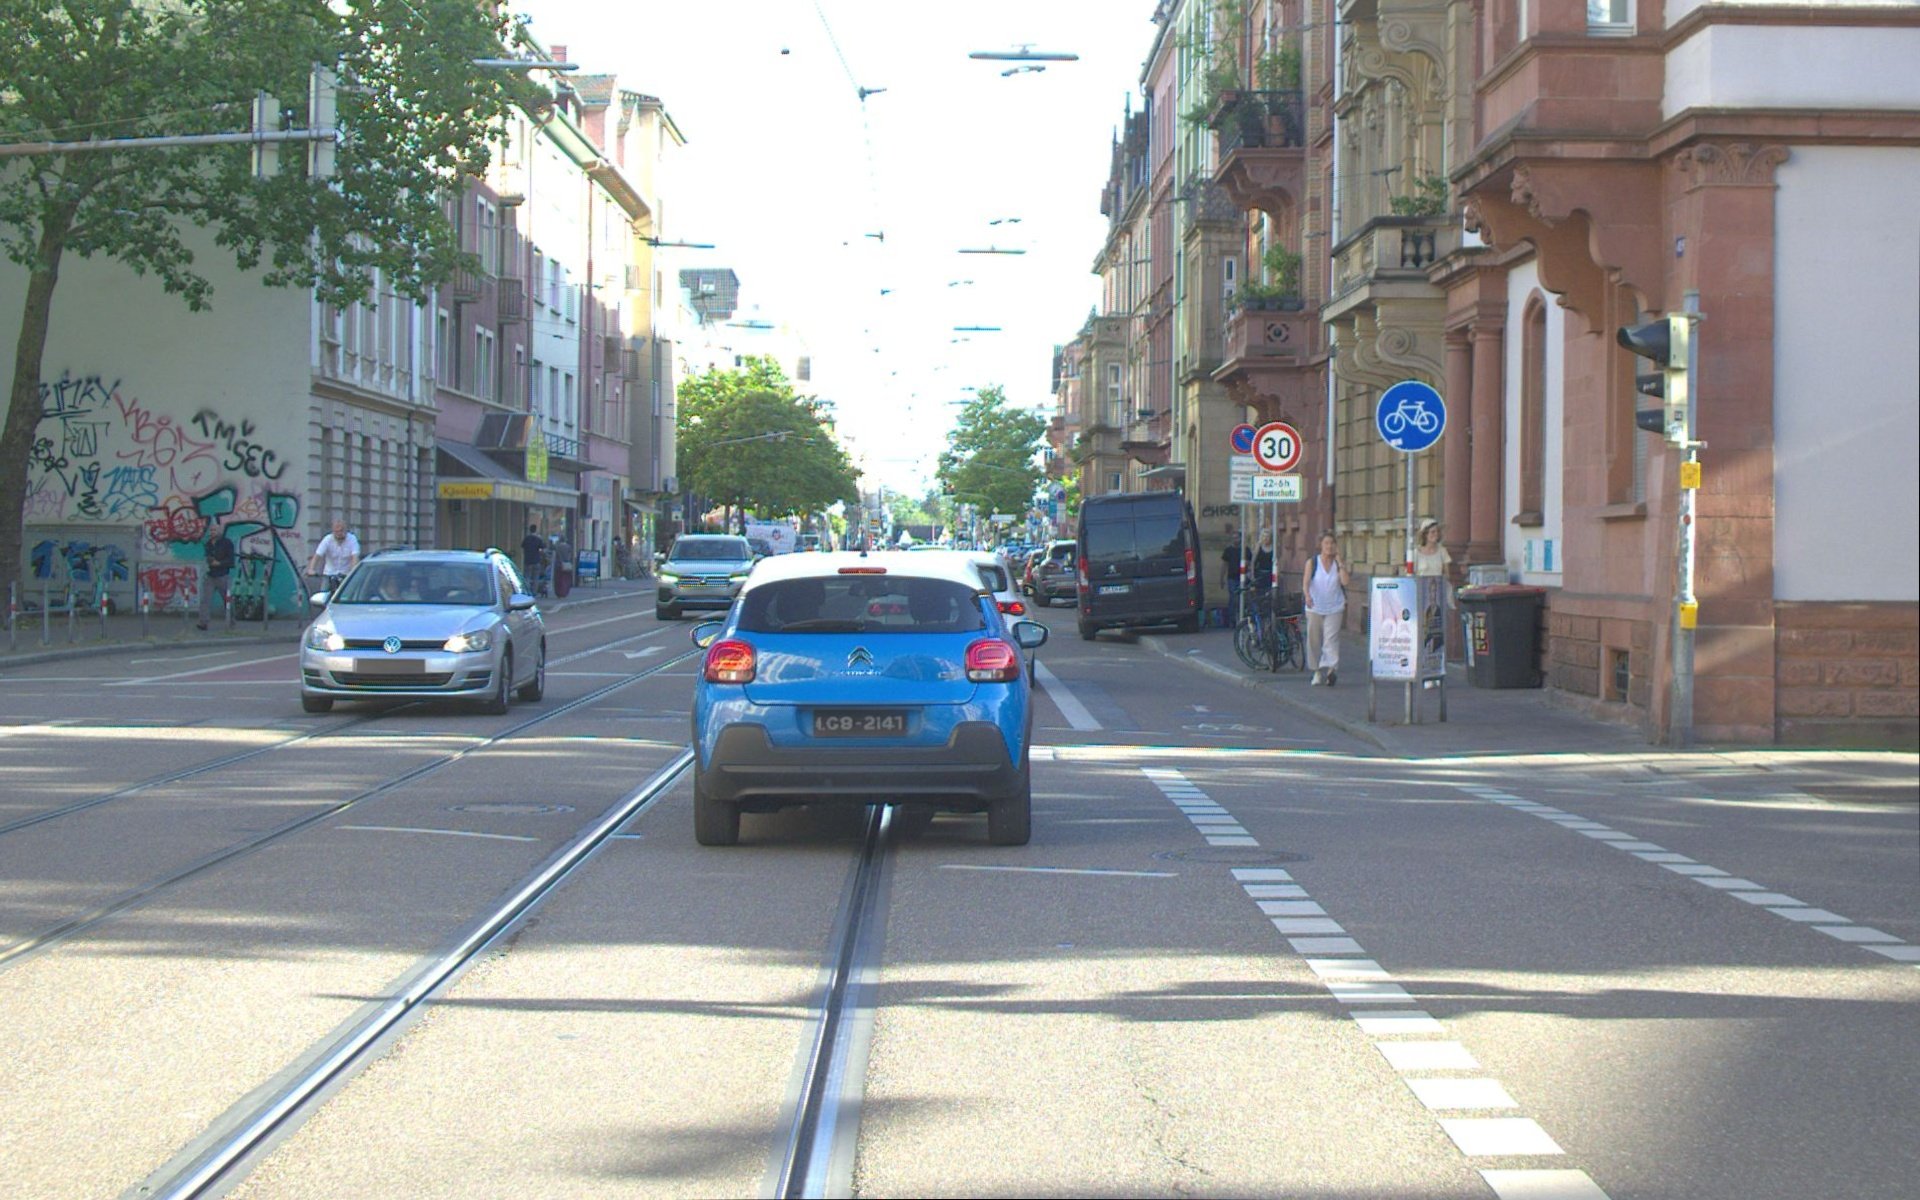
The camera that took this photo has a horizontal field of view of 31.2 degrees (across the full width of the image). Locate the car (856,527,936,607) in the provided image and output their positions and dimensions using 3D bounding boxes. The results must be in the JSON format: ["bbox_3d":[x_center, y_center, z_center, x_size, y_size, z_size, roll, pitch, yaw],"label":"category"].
[{"bbox_3d":[-1.665,-0.870,88.933,1.993,2.007,4.000,1,1,-1],"label":"car"}]

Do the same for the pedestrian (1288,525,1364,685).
[{"bbox_3d":[3.919,0.049,36.831,0.626,1.695,0.682,1,1,-9],"label":"pedestrian"}]

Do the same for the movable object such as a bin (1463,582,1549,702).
[{"bbox_3d":[5.670,0.430,35.709,0.666,1.149,0.594,-7,2,-1],"label":"movable object such as a bin"}]

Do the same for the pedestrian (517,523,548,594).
[{"bbox_3d":[-10.674,-1.033,85.858,0.710,1.758,0.570,1,1,-1],"label":"pedestrian"}]

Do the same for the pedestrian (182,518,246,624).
[{"bbox_3d":[-12.520,-0.492,57.723,0.682,1.759,1.025,1,1,10],"label":"pedestrian"}]

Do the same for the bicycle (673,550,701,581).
[{"bbox_3d":[-12.168,-1.548,153.272,1.120,1.315,3.645,1,1,-6],"label":"bicycle"}]

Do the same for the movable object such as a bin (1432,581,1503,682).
[{"bbox_3d":[5.435,0.335,36.850,0.666,1.073,0.571,0,1,-1],"label":"movable object such as a bin"}]

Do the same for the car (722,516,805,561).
[{"bbox_3d":[-11.564,-3.606,202.326,4.307,2.572,2.210,-1,1,-26],"label":"car"}]

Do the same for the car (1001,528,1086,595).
[{"bbox_3d":[2.140,-1.001,89.089,2.005,1.667,4.806,1,1,-1],"label":"car"}]

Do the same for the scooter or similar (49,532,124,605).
[{"bbox_3d":[-15.282,-0.552,60.156,1.227,1.253,0.768,1,1,-12],"label":"scooter or similar"}]

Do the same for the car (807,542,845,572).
[{"bbox_3d":[-7.351,-2.358,188.360,1.993,1.645,4.000,1,1,-1],"label":"car"}]

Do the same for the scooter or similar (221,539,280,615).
[{"bbox_3d":[-12.700,-0.416,61.563,0.788,1.267,1.075,3,2,-2],"label":"scooter or similar"}]

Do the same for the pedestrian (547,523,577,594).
[{"bbox_3d":[-9.969,-1.041,86.051,0.710,1.758,0.655,1,1,-9],"label":"pedestrian"}]

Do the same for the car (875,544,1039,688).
[{"bbox_3d":[-0.082,0.140,37.571,1.667,1.473,4.000,1,1,-2],"label":"car"}]

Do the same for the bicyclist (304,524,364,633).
[{"bbox_3d":[-8.622,-0.306,47.392,0.682,1.478,0.778,1,1,-1],"label":"bicyclist"}]

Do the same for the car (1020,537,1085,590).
[{"bbox_3d":[3.017,-1.222,113.000,2.005,1.667,4.391,1,1,0],"label":"car"}]

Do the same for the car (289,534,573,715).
[{"bbox_3d":[-4.699,0.170,31.142,1.985,1.497,4.309,1,1,-1],"label":"car"}]

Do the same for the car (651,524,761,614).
[{"bbox_3d":[-5.092,-0.637,69.432,1.993,1.738,4.563,1,1,-2],"label":"car"}]

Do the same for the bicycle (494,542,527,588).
[{"bbox_3d":[-11.588,-0.905,88.514,0.621,1.155,2.066,1,1,-14],"label":"bicycle"}]

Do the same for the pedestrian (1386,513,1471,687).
[{"bbox_3d":[4.905,0.000,36.020,0.705,1.776,0.673,-3,1,-2],"label":"pedestrian"}]

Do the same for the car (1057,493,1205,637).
[{"bbox_3d":[3.005,-0.635,61.676,2.271,2.428,5.720,1,1,-1],"label":"car"}]

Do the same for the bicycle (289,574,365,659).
[{"bbox_3d":[-8.613,0.212,46.835,0.692,1.116,2.084,1,1,-1],"label":"bicycle"}]

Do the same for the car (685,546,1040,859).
[{"bbox_3d":[-0.578,0.461,18.421,1.673,1.472,4.001,1,1,-3],"label":"car"}]

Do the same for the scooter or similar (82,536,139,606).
[{"bbox_3d":[-15.065,-0.517,60.984,0.937,1.218,0.768,1,1,-12],"label":"scooter or similar"}]

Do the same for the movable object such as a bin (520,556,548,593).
[{"bbox_3d":[-10.716,-0.646,86.503,0.610,0.911,0.695,1,1,-1],"label":"movable object such as a bin"}]

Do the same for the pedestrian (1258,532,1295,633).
[{"bbox_3d":[5.601,-0.317,60.842,0.553,1.776,0.606,1,1,-2],"label":"pedestrian"}]

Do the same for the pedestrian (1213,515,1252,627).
[{"bbox_3d":[4.910,-0.527,62.037,0.585,2.007,0.823,1,1,-2],"label":"pedestrian"}]

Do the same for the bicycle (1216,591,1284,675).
[{"bbox_3d":[3.475,0.386,41.266,0.431,0.944,1.764,1,1,-8],"label":"bicycle"}]

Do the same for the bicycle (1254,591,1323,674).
[{"bbox_3d":[3.940,0.376,41.326,0.431,0.944,1.764,1,1,-8],"label":"bicycle"}]
